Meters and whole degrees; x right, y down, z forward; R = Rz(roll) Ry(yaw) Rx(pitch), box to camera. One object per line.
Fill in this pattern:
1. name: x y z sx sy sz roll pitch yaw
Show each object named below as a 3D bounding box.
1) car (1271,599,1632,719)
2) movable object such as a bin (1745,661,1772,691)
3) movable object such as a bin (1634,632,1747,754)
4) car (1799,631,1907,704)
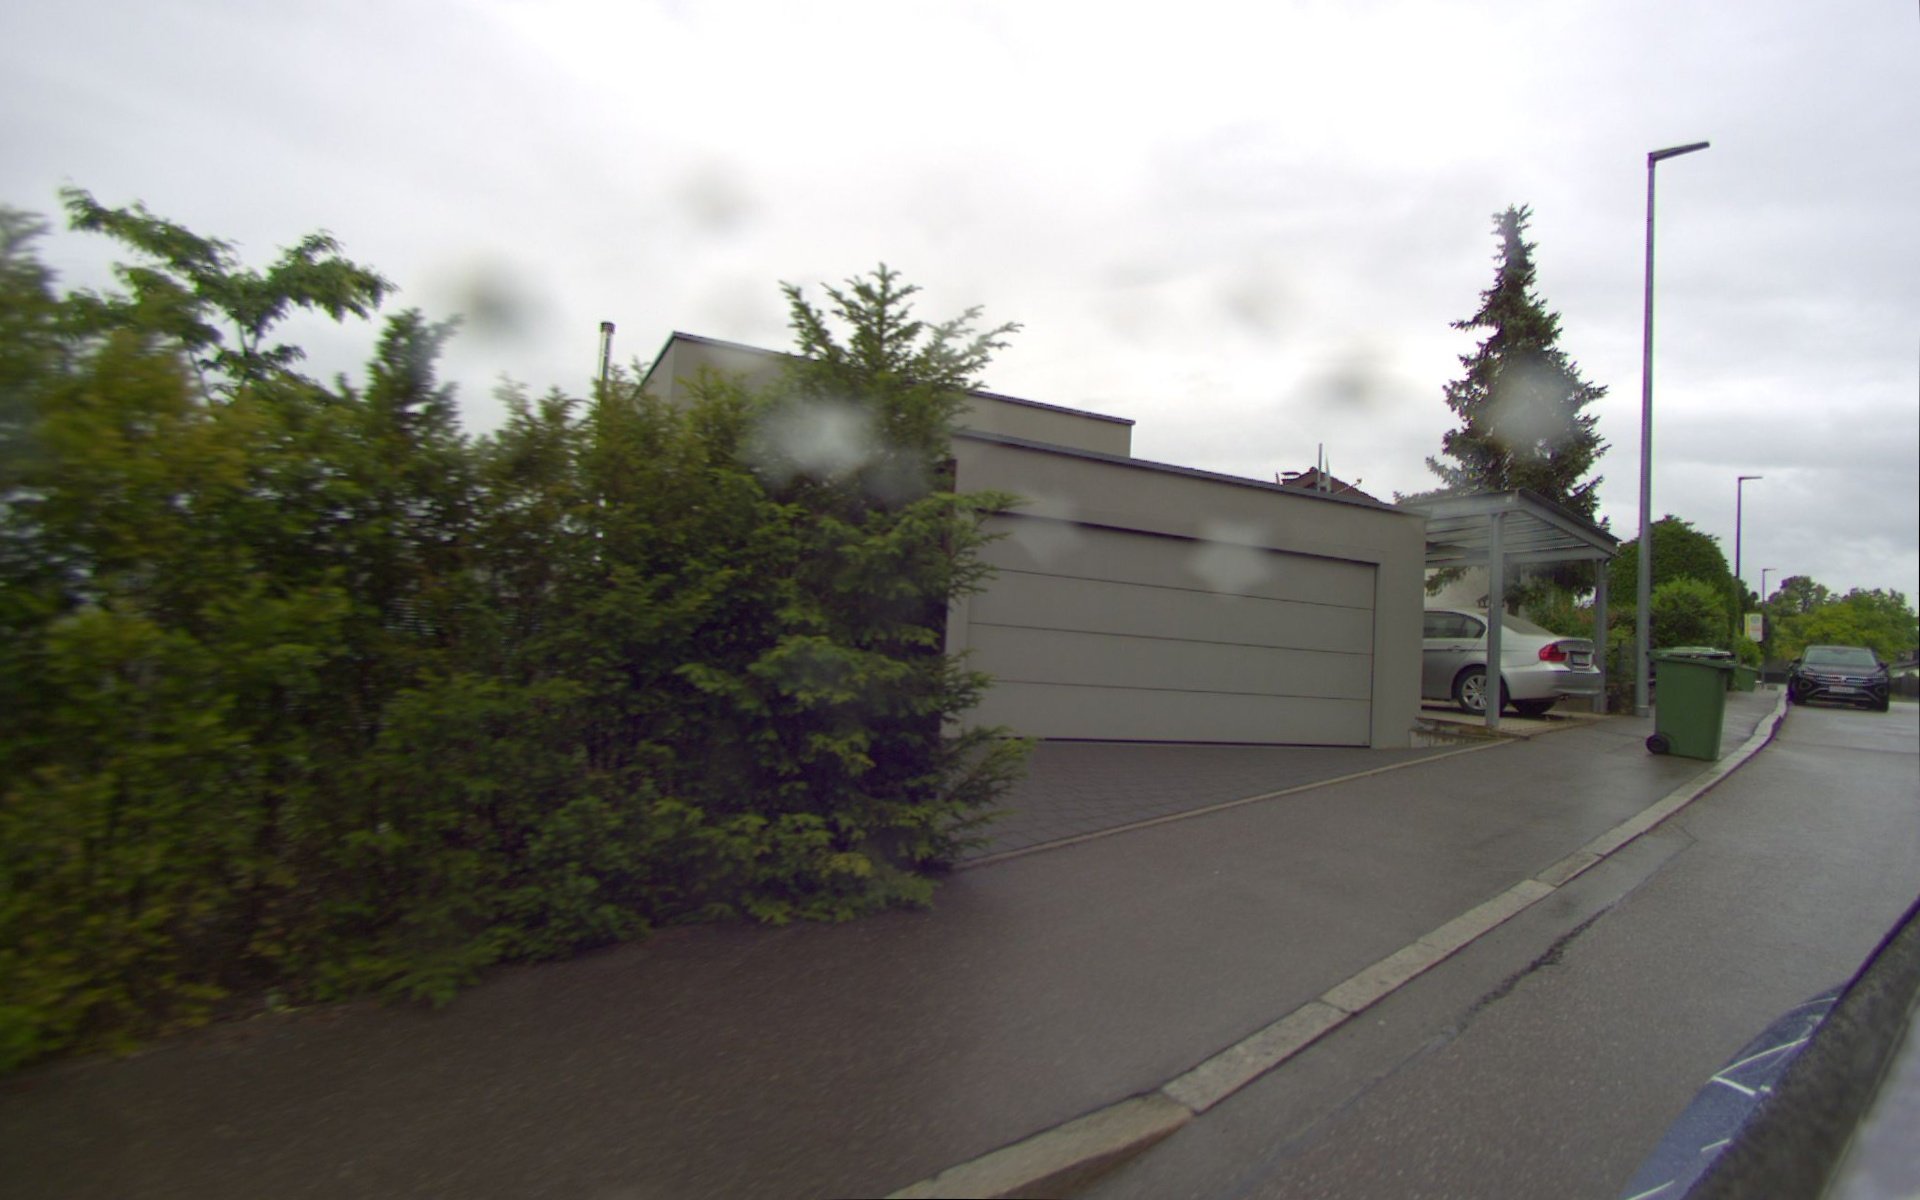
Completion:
1. car: 6.780 0.750 14.374 1.905 1.433 4.228 2 -2 -37
2. movable object such as a bin: 31.865 3.022 40.375 0.739 1.102 0.590 4 -2 43
3. movable object such as a bin: 7.489 0.926 10.373 0.790 1.109 0.664 6 2 43
4. car: 22.584 1.731 25.737 1.873 1.612 4.413 1 -3 39
